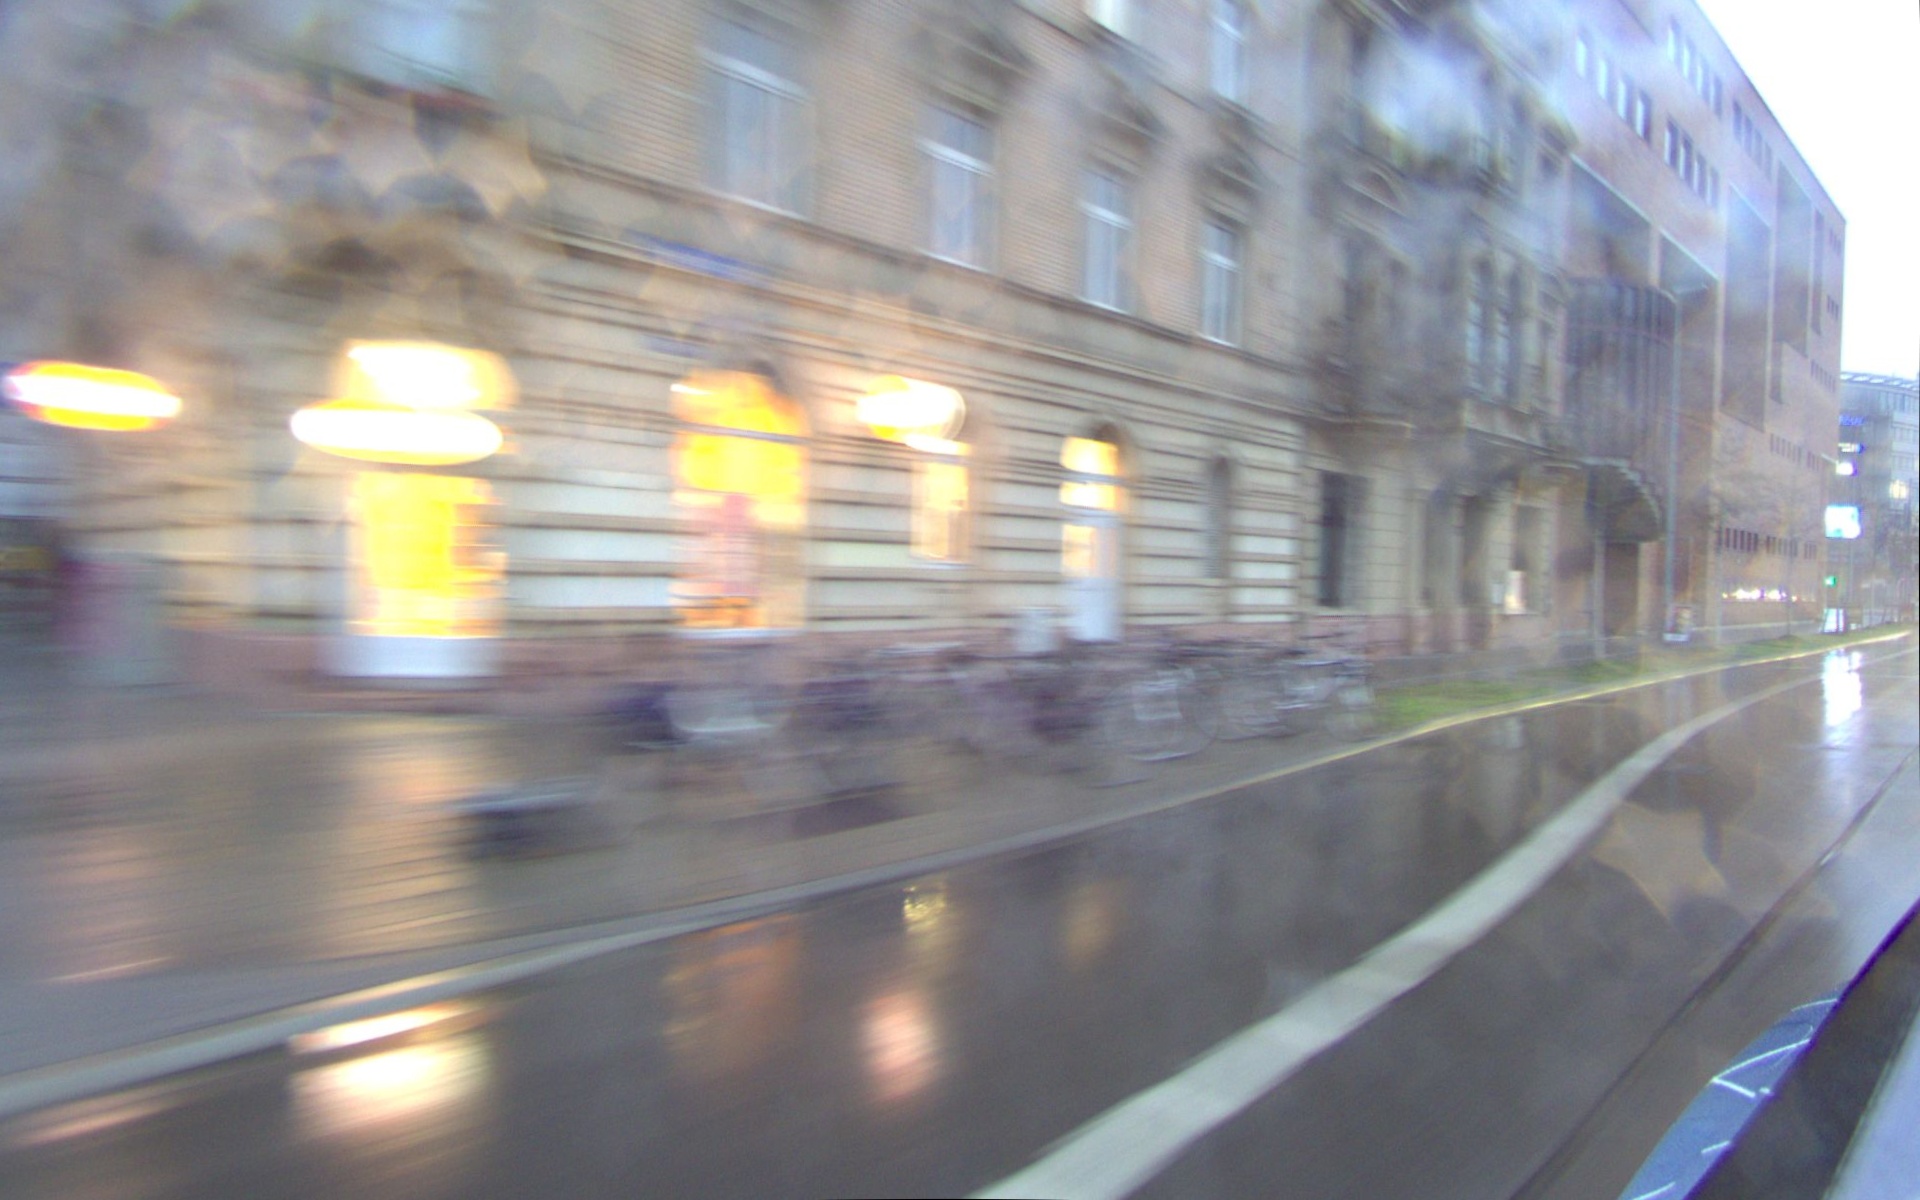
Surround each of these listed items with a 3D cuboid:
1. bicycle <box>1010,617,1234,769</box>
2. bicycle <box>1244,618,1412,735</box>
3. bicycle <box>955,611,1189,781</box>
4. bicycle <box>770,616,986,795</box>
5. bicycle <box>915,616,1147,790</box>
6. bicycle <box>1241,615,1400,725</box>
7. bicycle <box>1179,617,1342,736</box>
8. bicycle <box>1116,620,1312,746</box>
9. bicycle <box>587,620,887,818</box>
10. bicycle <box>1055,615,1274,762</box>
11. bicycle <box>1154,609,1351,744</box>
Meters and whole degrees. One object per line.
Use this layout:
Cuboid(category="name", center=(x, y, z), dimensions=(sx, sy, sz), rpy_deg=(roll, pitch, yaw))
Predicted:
Cuboid(category="bicycle", center=(1.385, 0.765, 9.108), dimensions=(0.476, 1.068, 2.148), rpy_deg=(0, 3, -42))
Cuboid(category="bicycle", center=(3.983, 0.794, 11.086), dimensions=(0.365, 1.068, 1.733), rpy_deg=(0, 3, -42))
Cuboid(category="bicycle", center=(0.854, 0.725, 8.430), dimensions=(0.418, 1.067, 2.149), rpy_deg=(2, 4, -42))
Cuboid(category="bicycle", center=(-0.697, 0.729, 7.782), dimensions=(0.470, 1.065, 2.091), rpy_deg=(0, 3, -42))
Cuboid(category="bicycle", center=(0.497, 0.748, 8.155), dimensions=(0.470, 1.064, 2.092), rpy_deg=(0, 4, -42))
Cuboid(category="bicycle", center=(4.118, 0.769, 11.679), dimensions=(0.365, 1.068, 1.733), rpy_deg=(0, 3, -42))
Cuboid(category="bicycle", center=(3.208, 0.786, 10.953), dimensions=(0.365, 1.068, 1.733), rpy_deg=(0, 3, -42))
Cuboid(category="bicycle", center=(2.545, 0.800, 10.383), dimensions=(0.418, 0.982, 2.012), rpy_deg=(0, 5, -42))
Cuboid(category="bicycle", center=(-1.525, 0.736, 6.781), dimensions=(2.071, 1.065, 0.475), rpy_deg=(3, 2, 24))
Cuboid(category="bicycle", center=(1.850, 0.764, 9.536), dimensions=(0.418, 1.067, 2.148), rpy_deg=(2, 3, -42))
Cuboid(category="bicycle", center=(2.992, 0.742, 10.557), dimensions=(0.418, 1.108, 2.012), rpy_deg=(0, 5, -42))
